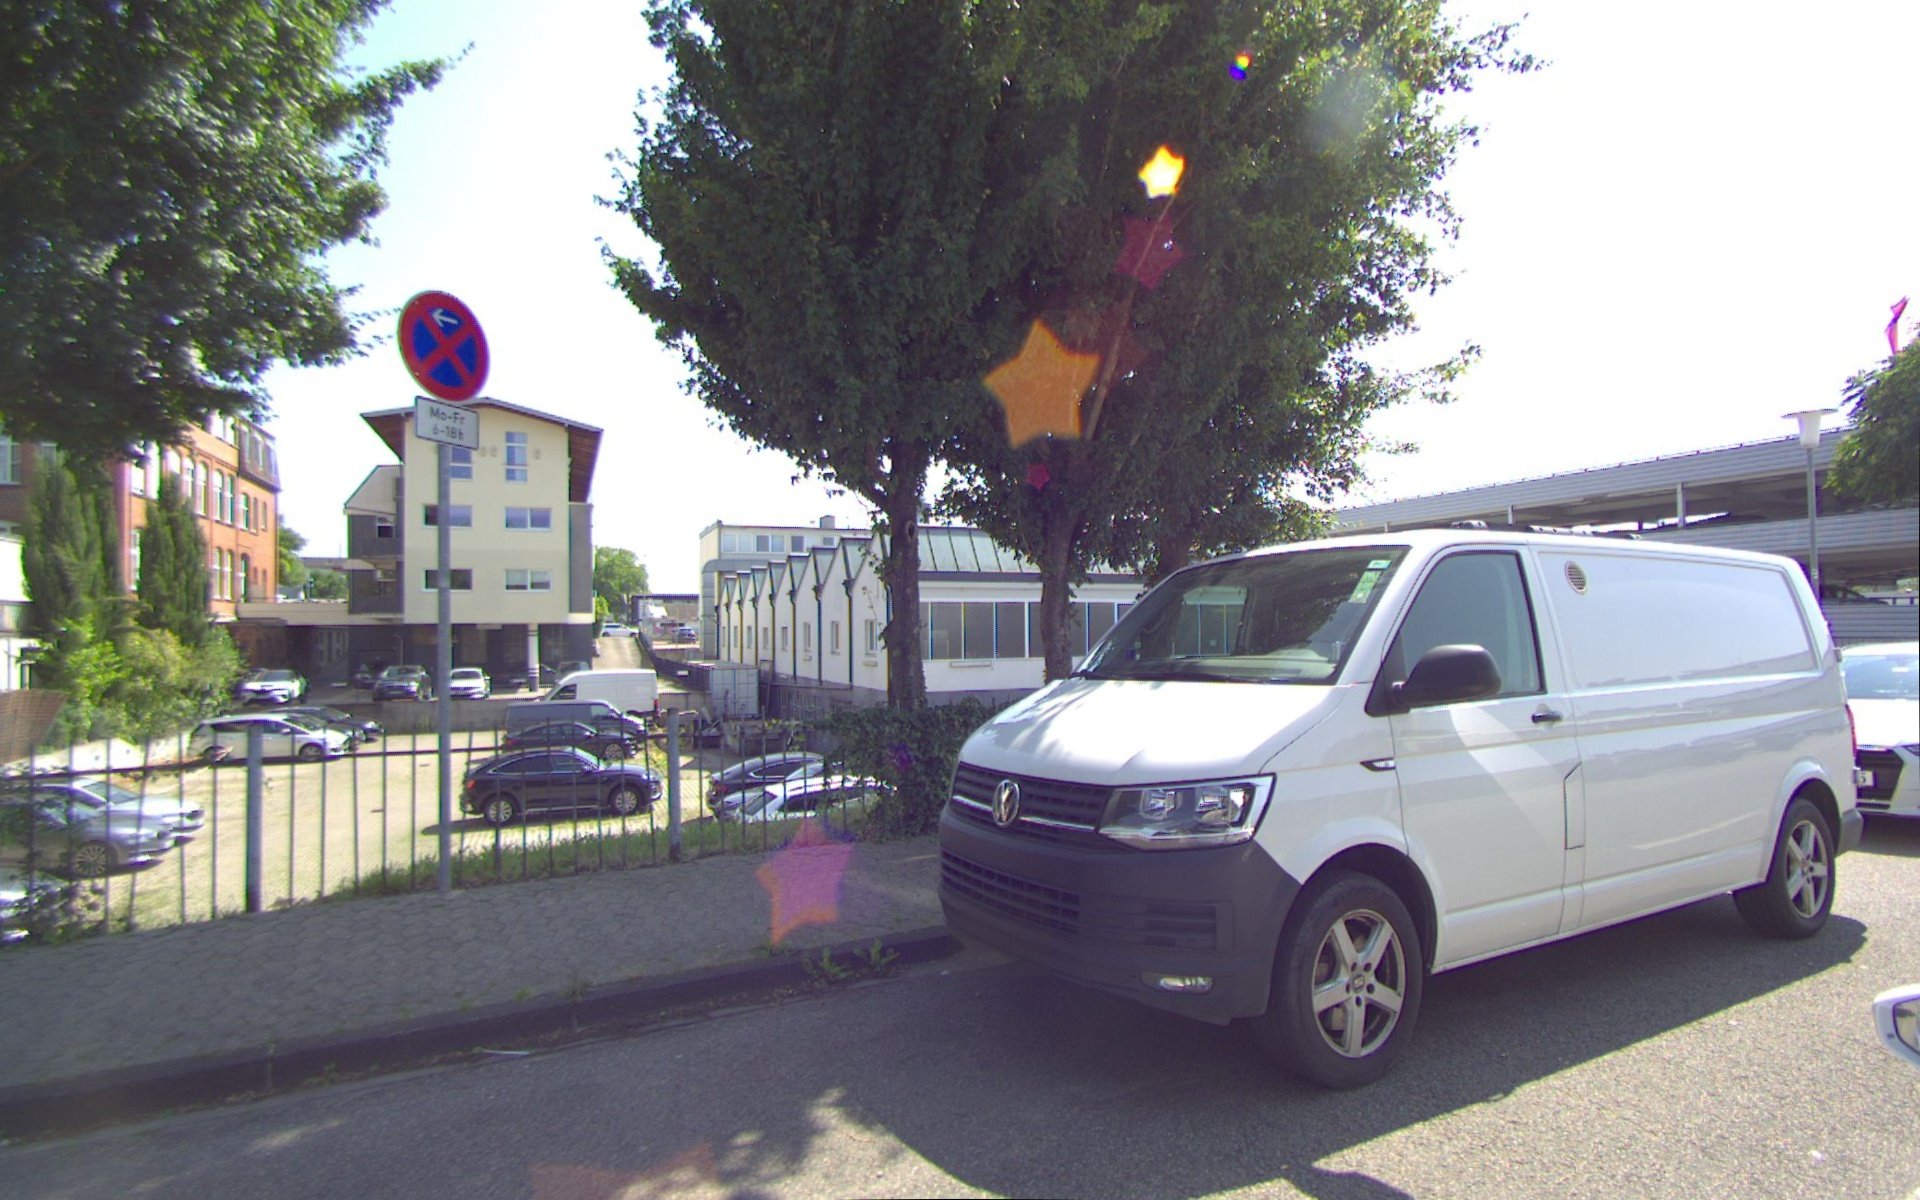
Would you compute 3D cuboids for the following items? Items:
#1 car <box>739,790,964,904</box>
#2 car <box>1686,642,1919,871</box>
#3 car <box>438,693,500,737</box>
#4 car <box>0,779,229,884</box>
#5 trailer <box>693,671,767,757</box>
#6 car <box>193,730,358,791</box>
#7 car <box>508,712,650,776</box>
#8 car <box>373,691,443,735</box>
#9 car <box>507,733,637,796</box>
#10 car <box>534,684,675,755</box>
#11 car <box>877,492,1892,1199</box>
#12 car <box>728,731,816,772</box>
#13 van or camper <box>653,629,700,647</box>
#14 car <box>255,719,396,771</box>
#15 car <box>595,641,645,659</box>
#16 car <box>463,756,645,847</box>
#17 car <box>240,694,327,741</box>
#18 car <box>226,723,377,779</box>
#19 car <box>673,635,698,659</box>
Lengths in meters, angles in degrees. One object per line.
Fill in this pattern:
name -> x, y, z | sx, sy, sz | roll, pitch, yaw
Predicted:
car -> -2.078, 4.603, 19.107 | 3.940, 1.461, 1.801 | 0, -2, -21
car -> 8.225, 1.154, 8.605 | 4.352, 1.563, 1.705 | 0, -4, -33
car -> -22.995, 5.347, 47.162 | 2.084, 1.699, 4.583 | 0, -3, -20
car -> -18.218, 4.860, 21.336 | 3.944, 1.705, 1.990 | 1, -5, -24
trailer -> -12.420, 5.957, 53.798 | 2.716, 4.046, 6.847 | -1, -2, -23
car -> -24.258, 5.665, 35.774 | 4.534, 1.699, 1.814 | -1, -4, -22
car -> -14.200, 5.322, 37.599 | 4.853, 2.048, 1.991 | 1, -3, -22
car -> -25.270, 5.124, 46.125 | 2.084, 1.699, 4.583 | 1, -3, -20
car -> -13.010, 5.466, 33.719 | 3.944, 1.705, 1.989 | 1, -3, -24
car -> -16.000, 5.322, 45.364 | 5.845, 2.913, 2.433 | 0, -4, -21
car -> 2.277, 0.799, 4.989 | 4.996, 2.039, 1.963 | 1, -4, -30
car -> -8.338, 6.669, 44.486 | 3.544, 1.537, 1.784 | 1, -5, -22
van or camper -> -37.983, 5.116, 134.562 | 5.648, 2.319, 2.321 | 1, -5, -28
car -> -25.534, 5.819, 40.606 | 4.534, 1.699, 1.814 | -1, -4, -22
car -> -34.253, 5.024, 101.091 | 4.541, 1.700, 2.102 | 0, -1, -26
car -> -9.804, 4.820, 24.431 | 3.944, 1.705, 1.990 | 1, -5, -24
car -> -29.818, 5.143, 44.438 | 2.084, 1.699, 4.583 | 1, -3, -20
car -> -25.077, 5.750, 38.461 | 4.534, 1.699, 1.814 | -1, -4, -22
car -> -25.818, 4.429, 94.243 | 1.969, 2.039, 3.984 | 0, -5, -20
